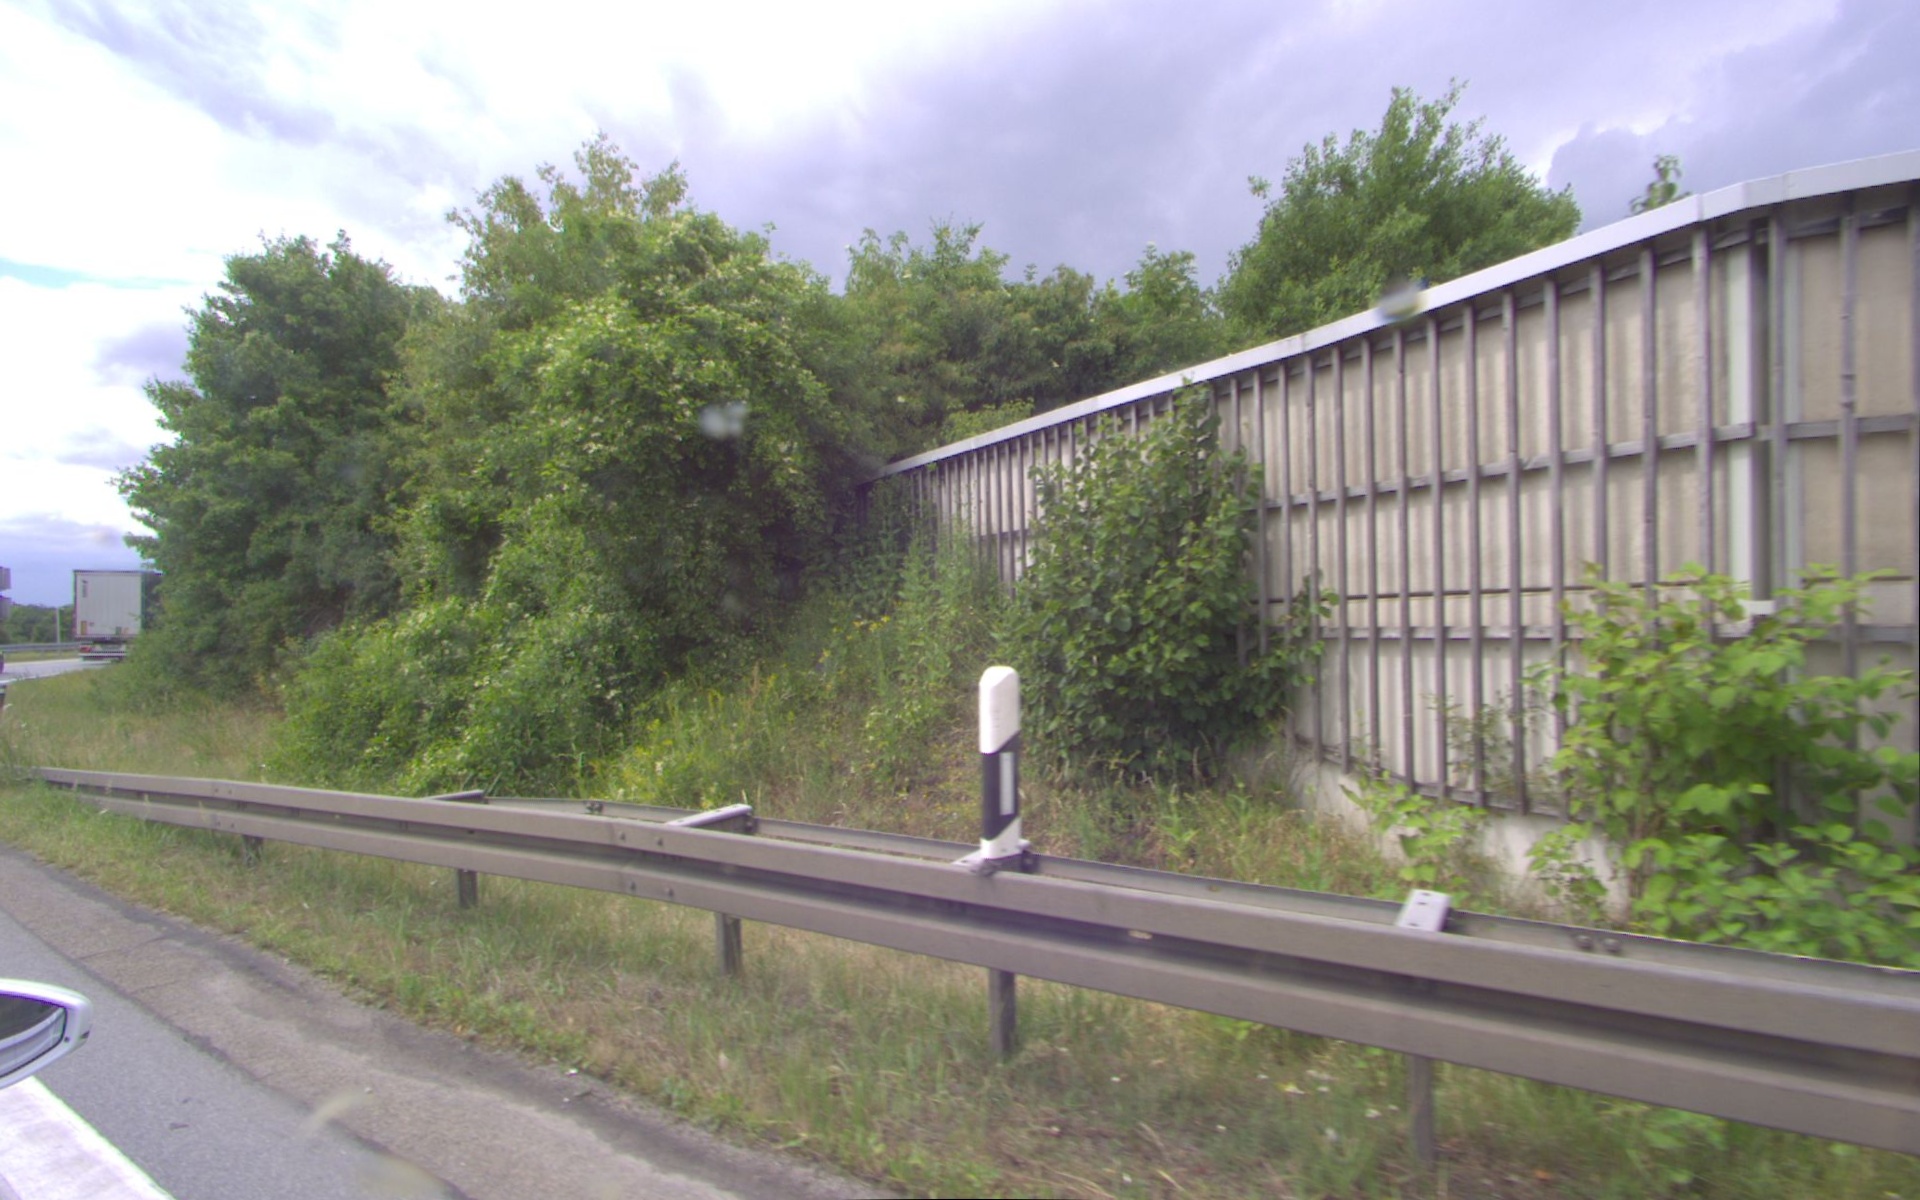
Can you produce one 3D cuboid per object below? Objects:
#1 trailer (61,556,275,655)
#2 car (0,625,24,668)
[{"bbox_3d":[-38.641,0.422,49.781,3.281,4.247,13.018,0,-1,-14],"label":"trailer"},{"bbox_3d":[-34.638,1.638,34.542,2.180,1.521,4.767,0,-1,-27],"label":"car"}]
